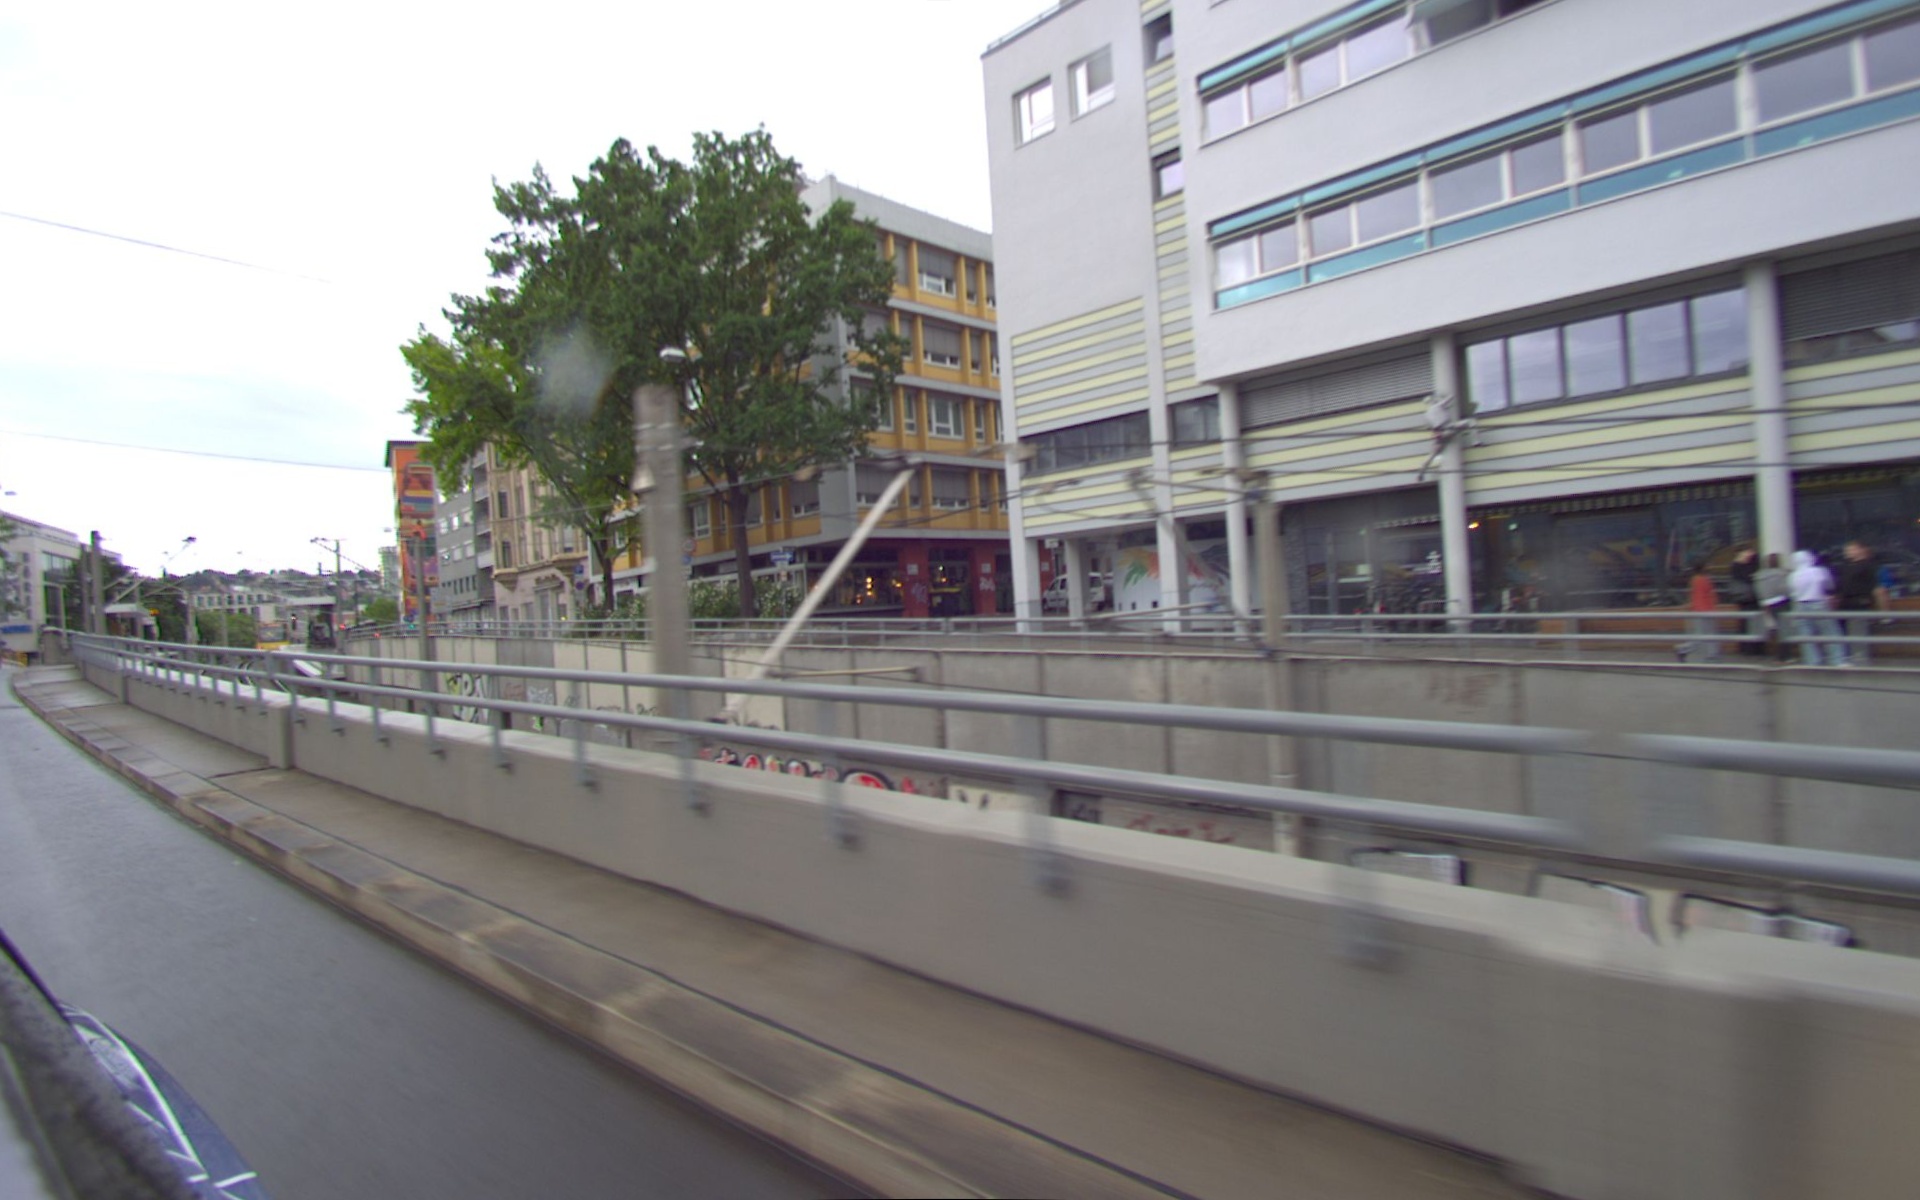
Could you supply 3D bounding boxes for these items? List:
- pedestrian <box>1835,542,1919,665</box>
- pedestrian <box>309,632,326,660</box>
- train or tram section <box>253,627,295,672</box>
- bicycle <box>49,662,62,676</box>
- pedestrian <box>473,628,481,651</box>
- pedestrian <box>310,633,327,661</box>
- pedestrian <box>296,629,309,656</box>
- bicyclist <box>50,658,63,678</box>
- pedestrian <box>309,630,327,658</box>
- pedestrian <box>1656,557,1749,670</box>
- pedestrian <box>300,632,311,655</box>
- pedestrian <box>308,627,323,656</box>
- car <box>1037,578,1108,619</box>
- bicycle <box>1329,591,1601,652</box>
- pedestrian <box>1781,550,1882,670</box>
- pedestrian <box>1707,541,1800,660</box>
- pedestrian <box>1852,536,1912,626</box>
[{"bbox_3d":[13.495,0.051,14.870,0.600,1.735,0.674,-3,0,-1],"label":"pedestrian"},{"bbox_3d":[-38.956,2.770,61.409,0.761,1.661,0.780,4,-5,-30],"label":"pedestrian"},{"bbox_3d":[-66.326,4.836,97.936,2.741,3.719,9.741,-4,-2,-32],"label":"train or tram section"},{"bbox_3d":[-73.339,5.612,82.067,0.653,1.061,2.061,-1,-4,-37],"label":"bicycle"},{"bbox_3d":[-37.637,3.086,78.895,0.415,1.695,0.609,-4,-1,-24],"label":"pedestrian"},{"bbox_3d":[-39.457,2.884,62.231,0.761,1.661,0.780,4,-5,-30],"label":"pedestrian"},{"bbox_3d":[-41.099,2.655,63.264,0.624,1.673,0.684,-3,-2,-31],"label":"pedestrian"},{"bbox_3d":[-73.318,5.500,82.102,0.653,1.651,0.794,2,-4,-37],"label":"bicyclist"},{"bbox_3d":[-38.508,2.648,60.698,0.761,1.661,0.780,4,-5,-30],"label":"pedestrian"},{"bbox_3d":[11.105,0.198,15.162,0.936,1.628,0.668,-3,0,24],"label":"pedestrian"},{"bbox_3d":[-45.054,2.988,69.692,0.550,1.549,0.518,-3,-2,-34],"label":"pedestrian"},{"bbox_3d":[-38.053,2.460,59.752,0.668,1.661,0.898,3,-5,-30],"label":"pedestrian"},{"bbox_3d":[5.358,-0.113,48.683,1.799,1.800,4.013,-3,2,-20],"label":"car"},{"bbox_3d":[9.873,0.415,20.019,4.522,1.051,1.674,-2,0,43],"label":"bicycle"},{"bbox_3d":[12.501,0.137,14.534,0.783,1.655,0.674,-3,0,-5],"label":"pedestrian"},{"bbox_3d":[12.511,0.014,15.983,0.936,1.798,0.668,-3,0,24],"label":"pedestrian"},{"bbox_3d":[15.104,-0.302,16.579,0.674,1.429,0.601,-3,0,43],"label":"pedestrian"}]
